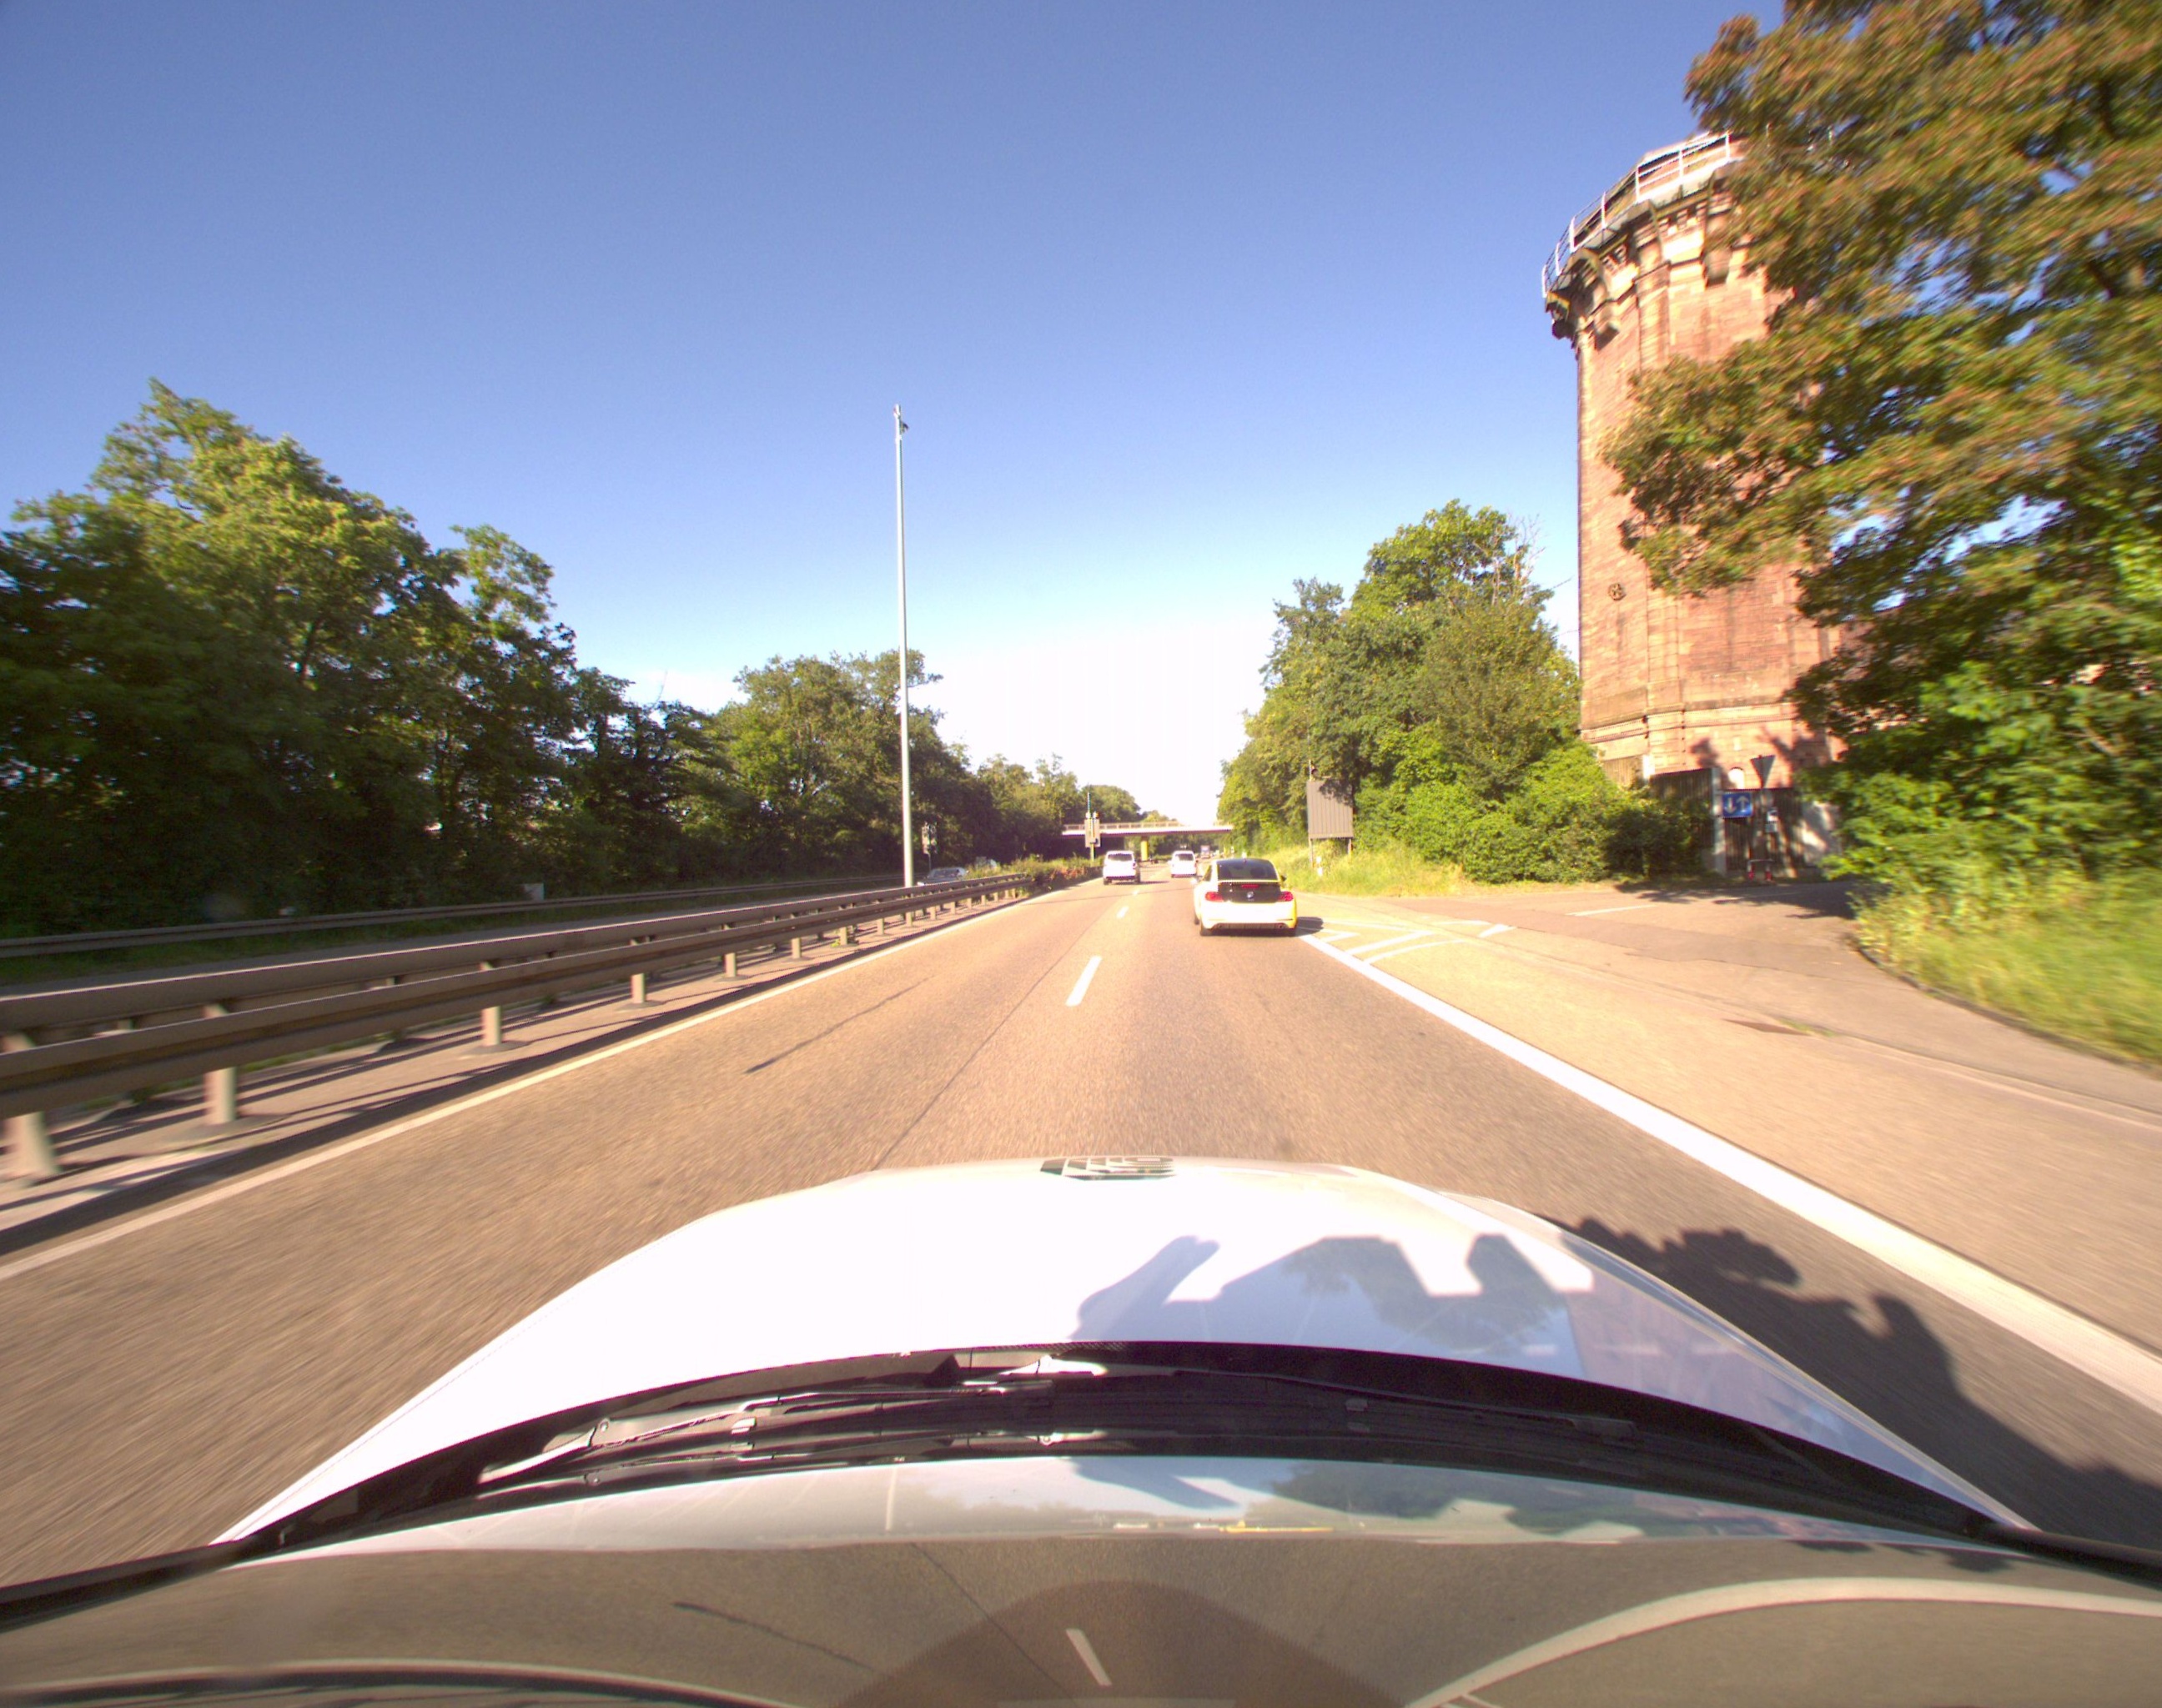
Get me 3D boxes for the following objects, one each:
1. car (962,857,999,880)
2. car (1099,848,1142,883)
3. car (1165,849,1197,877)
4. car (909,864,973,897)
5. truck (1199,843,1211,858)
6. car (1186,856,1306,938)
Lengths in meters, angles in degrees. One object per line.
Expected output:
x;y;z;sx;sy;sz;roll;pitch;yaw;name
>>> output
-7.943;1.142;64.703;1.952;1.724;4.750;-1;0;4;car
2.162;0.596;44.001;2.075;1.828;4.007;0;0;6;car
6.867;0.584;56.080;1.856;1.770;4.473;-2;0;3;car
-6.858;1.264;40.337;1.952;1.467;4.882;-1;0;4;car
38.147;-1.073;250.665;3.474;4.173;8.886;-2;0;10;truck
3.210;0.767;16.642;1.871;1.461;4.361;0;0;4;car
